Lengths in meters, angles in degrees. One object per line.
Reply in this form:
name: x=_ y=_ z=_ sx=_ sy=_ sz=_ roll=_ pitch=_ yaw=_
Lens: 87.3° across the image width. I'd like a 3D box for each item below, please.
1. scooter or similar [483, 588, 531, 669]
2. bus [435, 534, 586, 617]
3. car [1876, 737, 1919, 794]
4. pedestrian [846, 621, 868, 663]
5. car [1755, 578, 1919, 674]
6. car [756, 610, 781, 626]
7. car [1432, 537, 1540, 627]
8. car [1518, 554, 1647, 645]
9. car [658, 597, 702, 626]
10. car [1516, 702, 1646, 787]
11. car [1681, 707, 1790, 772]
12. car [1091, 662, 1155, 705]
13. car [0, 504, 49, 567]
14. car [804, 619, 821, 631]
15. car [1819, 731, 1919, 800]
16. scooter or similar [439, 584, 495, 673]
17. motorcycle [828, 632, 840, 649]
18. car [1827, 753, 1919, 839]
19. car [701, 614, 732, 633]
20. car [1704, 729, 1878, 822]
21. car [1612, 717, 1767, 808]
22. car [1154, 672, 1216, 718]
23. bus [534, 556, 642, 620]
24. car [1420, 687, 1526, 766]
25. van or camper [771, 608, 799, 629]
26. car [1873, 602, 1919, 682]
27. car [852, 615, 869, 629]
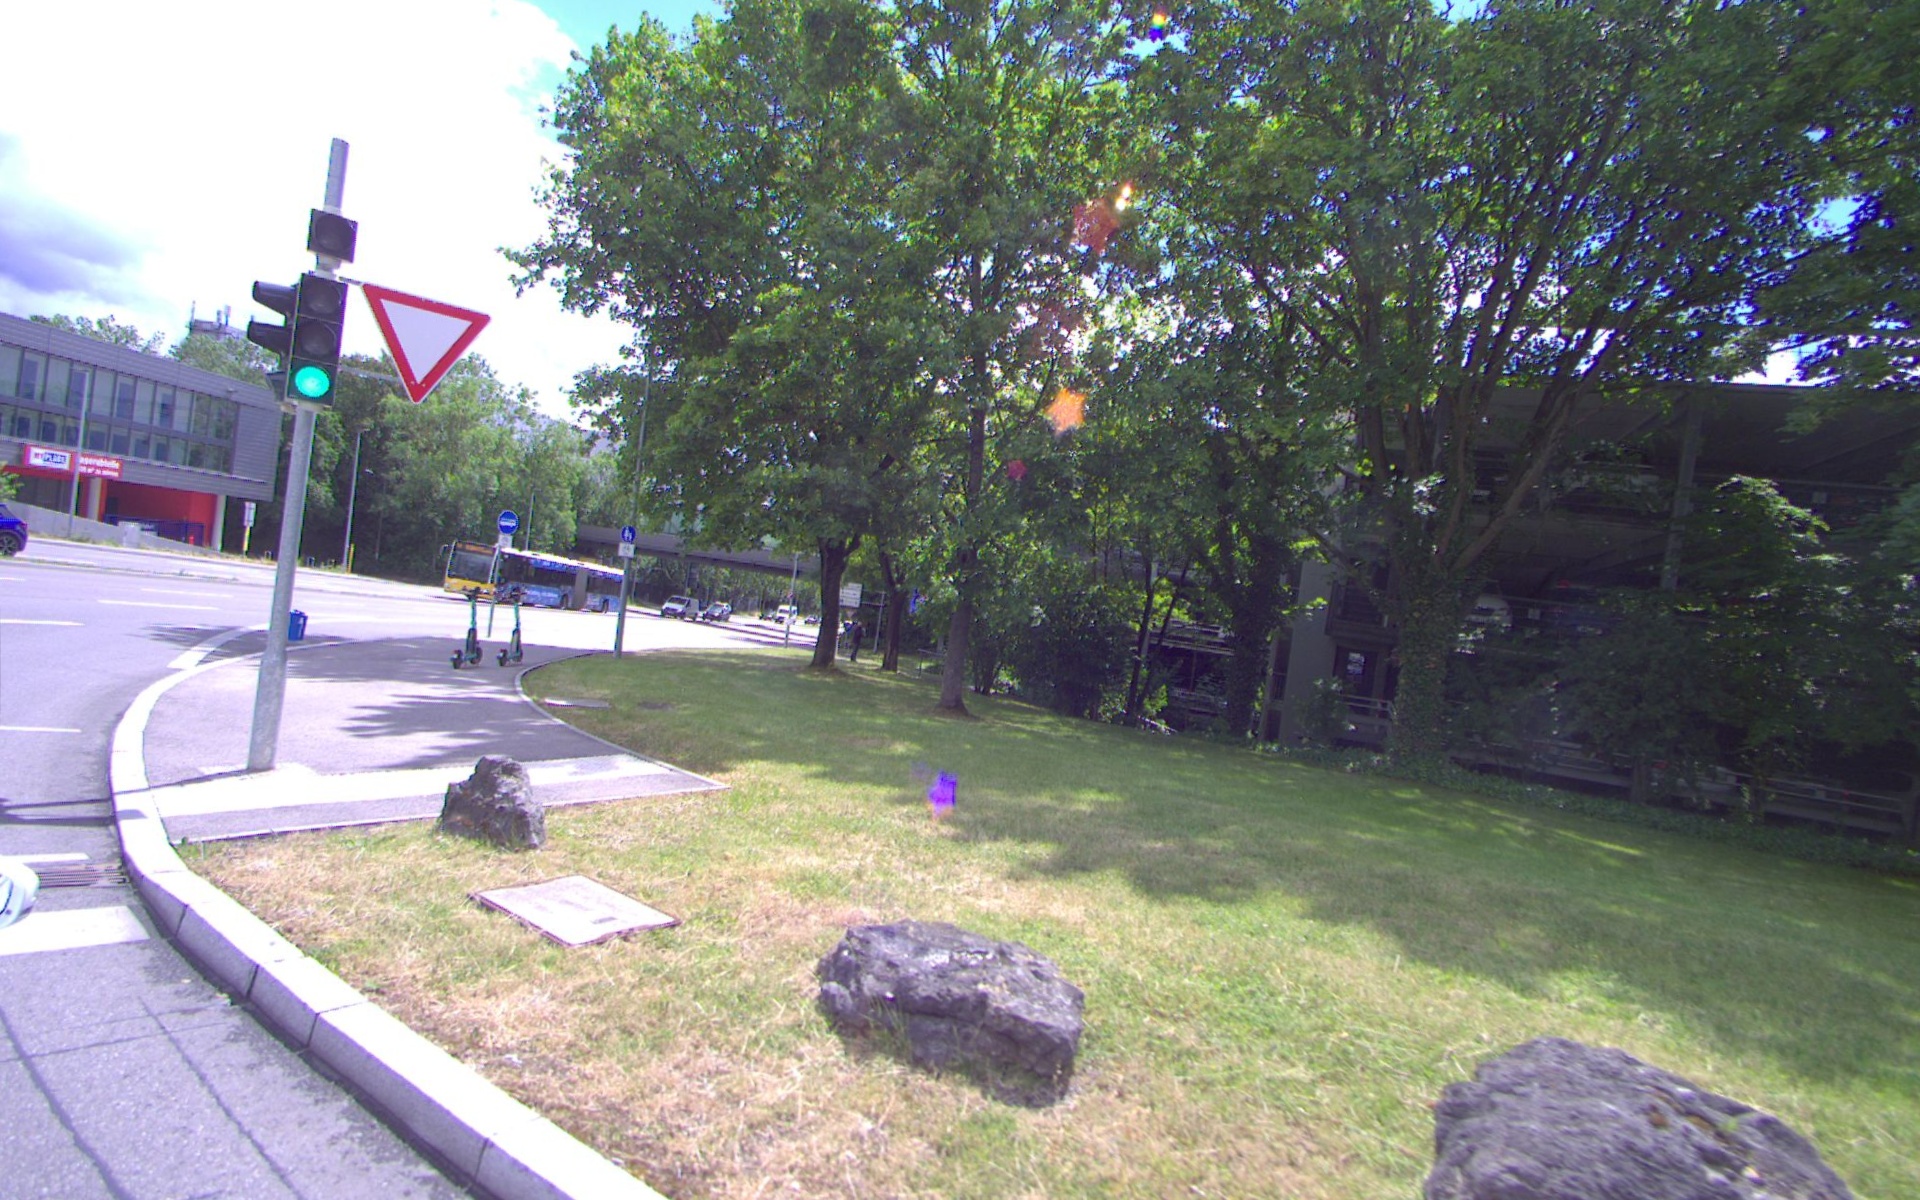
scooter or similar: x=-7.643 y=0.472 z=17.025 sx=0.526 sy=1.279 sz=1.185 roll=6 pitch=-1 yaw=-20
bus: x=-24.363 y=-1.162 z=55.376 sx=2.772 sy=3.321 sz=10.134 roll=8 pitch=-3 yaw=4
car: x=28.599 y=4.990 z=29.226 sx=1.565 sy=1.388 sz=3.780 roll=9 pitch=2 yaw=22
pedestrian: x=-4.557 y=1.858 z=44.468 sx=0.583 sy=1.741 sz=0.769 roll=6 pitch=3 yaw=-25
car: x=18.322 y=0.593 z=20.885 sx=1.696 sy=1.560 sz=3.702 roll=11 pitch=1 yaw=23
car: x=-26.446 y=2.493 z=139.155 sx=1.962 sy=1.769 sz=4.007 roll=7 pitch=-3 yaw=8
car: x=12.140 y=-0.365 z=23.445 sx=1.696 sy=1.560 sz=3.702 roll=11 pitch=1 yaw=23
car: x=13.932 y=0.051 z=22.732 sx=1.696 sy=1.560 sz=3.702 roll=11 pitch=1 yaw=23
car: x=-23.291 y=0.977 z=83.825 sx=1.848 sy=1.946 sz=4.755 roll=8 pitch=-2 yaw=3
car: x=13.959 y=3.199 z=22.840 sx=1.744 sy=1.308 sz=3.797 roll=9 pitch=0 yaw=22
car: x=23.958 y=4.267 z=31.233 sx=1.565 sy=1.388 sz=3.780 roll=9 pitch=2 yaw=22
car: x=7.081 y=3.559 z=43.372 sx=1.744 sy=1.490 sz=3.797 roll=9 pitch=0 yaw=22
car: x=-26.177 y=-1.913 z=25.484 sx=1.777 sy=1.528 sz=4.403 roll=8 pitch=-2 yaw=5
car: x=-22.266 y=3.756 z=152.005 sx=1.674 sy=1.538 sz=3.077 roll=8 pitch=-2 yaw=3
car: x=26.801 y=4.794 z=29.189 sx=1.565 sy=1.388 sz=3.780 roll=9 pitch=2 yaw=22
scooter or similar: x=-7.626 y=0.422 z=15.598 sx=0.526 sy=1.279 sz=1.185 roll=6 pitch=-1 yaw=-20
motorcycle: x=-9.054 y=2.905 z=72.397 sx=0.539 sy=1.123 sz=2.020 roll=8 pitch=-2 yaw=0
car: x=19.790 y=4.116 z=20.656 sx=1.744 sy=1.308 sz=3.797 roll=9 pitch=0 yaw=22
car: x=-22.939 y=2.216 z=94.755 sx=1.612 sy=1.487 sz=3.780 roll=8 pitch=-2 yaw=3
car: x=18.161 y=3.773 z=22.206 sx=1.744 sy=1.308 sz=3.797 roll=9 pitch=0 yaw=22
car: x=15.883 y=3.474 z=22.123 sx=1.744 sy=1.308 sz=3.797 roll=9 pitch=0 yaw=22
car: x=9.479 y=3.938 z=42.167 sx=1.744 sy=1.490 sz=3.797 roll=9 pitch=0 yaw=22
bus: x=-23.757 y=-0.640 z=64.872 sx=2.772 sy=3.200 sz=8.916 roll=8 pitch=-2 yaw=4
car: x=11.933 y=2.886 z=23.627 sx=1.744 sy=1.308 sz=3.797 roll=9 pitch=0 yaw=22
van or camper: x=-23.455 y=2.451 z=134.833 sx=1.977 sy=2.430 sz=6.400 roll=8 pitch=0 yaw=4
car: x=20.555 y=0.926 z=20.379 sx=1.696 sy=1.560 sz=3.702 roll=11 pitch=1 yaw=23
car: x=-15.776 y=3.491 z=159.371 sx=1.900 sy=1.795 sz=3.997 roll=8 pitch=2 yaw=3
